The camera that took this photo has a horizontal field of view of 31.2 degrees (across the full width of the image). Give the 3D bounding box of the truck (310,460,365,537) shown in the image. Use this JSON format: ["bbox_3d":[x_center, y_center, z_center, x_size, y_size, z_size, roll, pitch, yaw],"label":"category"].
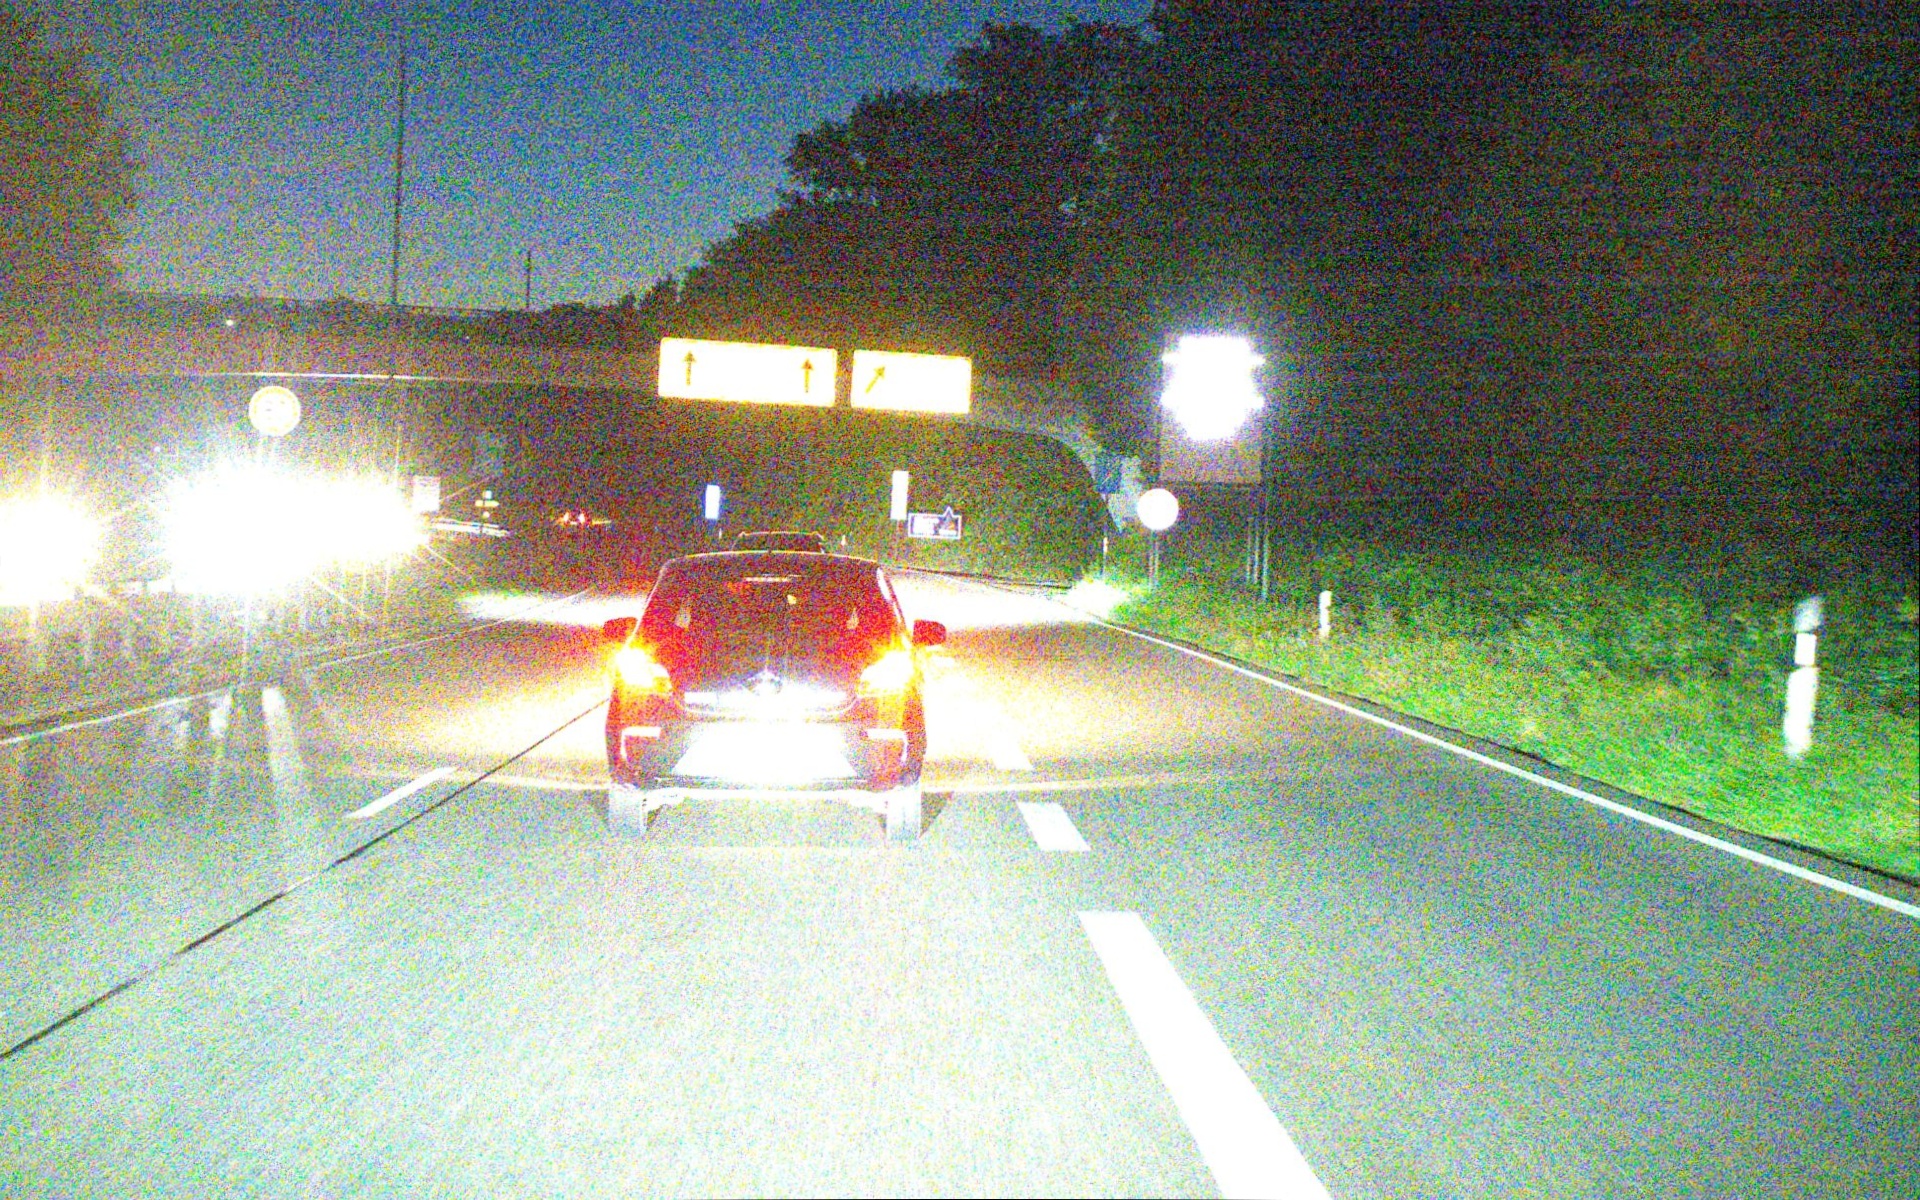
[{"bbox_3d":[-36.525,-5.928,201.512,2.625,4.218,8.598,4,1,-12],"label":"truck"}]

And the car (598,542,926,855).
[{"bbox_3d":[-1.078,0.450,18.805,1.588,1.503,4.001,0,1,-3],"label":"car"}]

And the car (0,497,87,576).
[{"bbox_3d":[-19.005,-1.310,69.673,1.728,1.512,4.159,2,1,-3],"label":"car"}]

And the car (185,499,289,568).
[{"bbox_3d":[-19.777,-1.835,94.224,1.967,1.757,5.033,2,1,-3],"label":"car"}]

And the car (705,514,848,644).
[{"bbox_3d":[-2.645,-0.338,50.186,1.906,1.692,4.001,3,2,-2],"label":"car"}]

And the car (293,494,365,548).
[{"bbox_3d":[-24.824,-3.123,135.350,2.361,2.007,5.034,2,1,-6],"label":"car"}]

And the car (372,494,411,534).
[{"bbox_3d":[-35.076,-5.299,212.253,1.993,2.259,4.001,4,1,-7],"label":"car"}]
